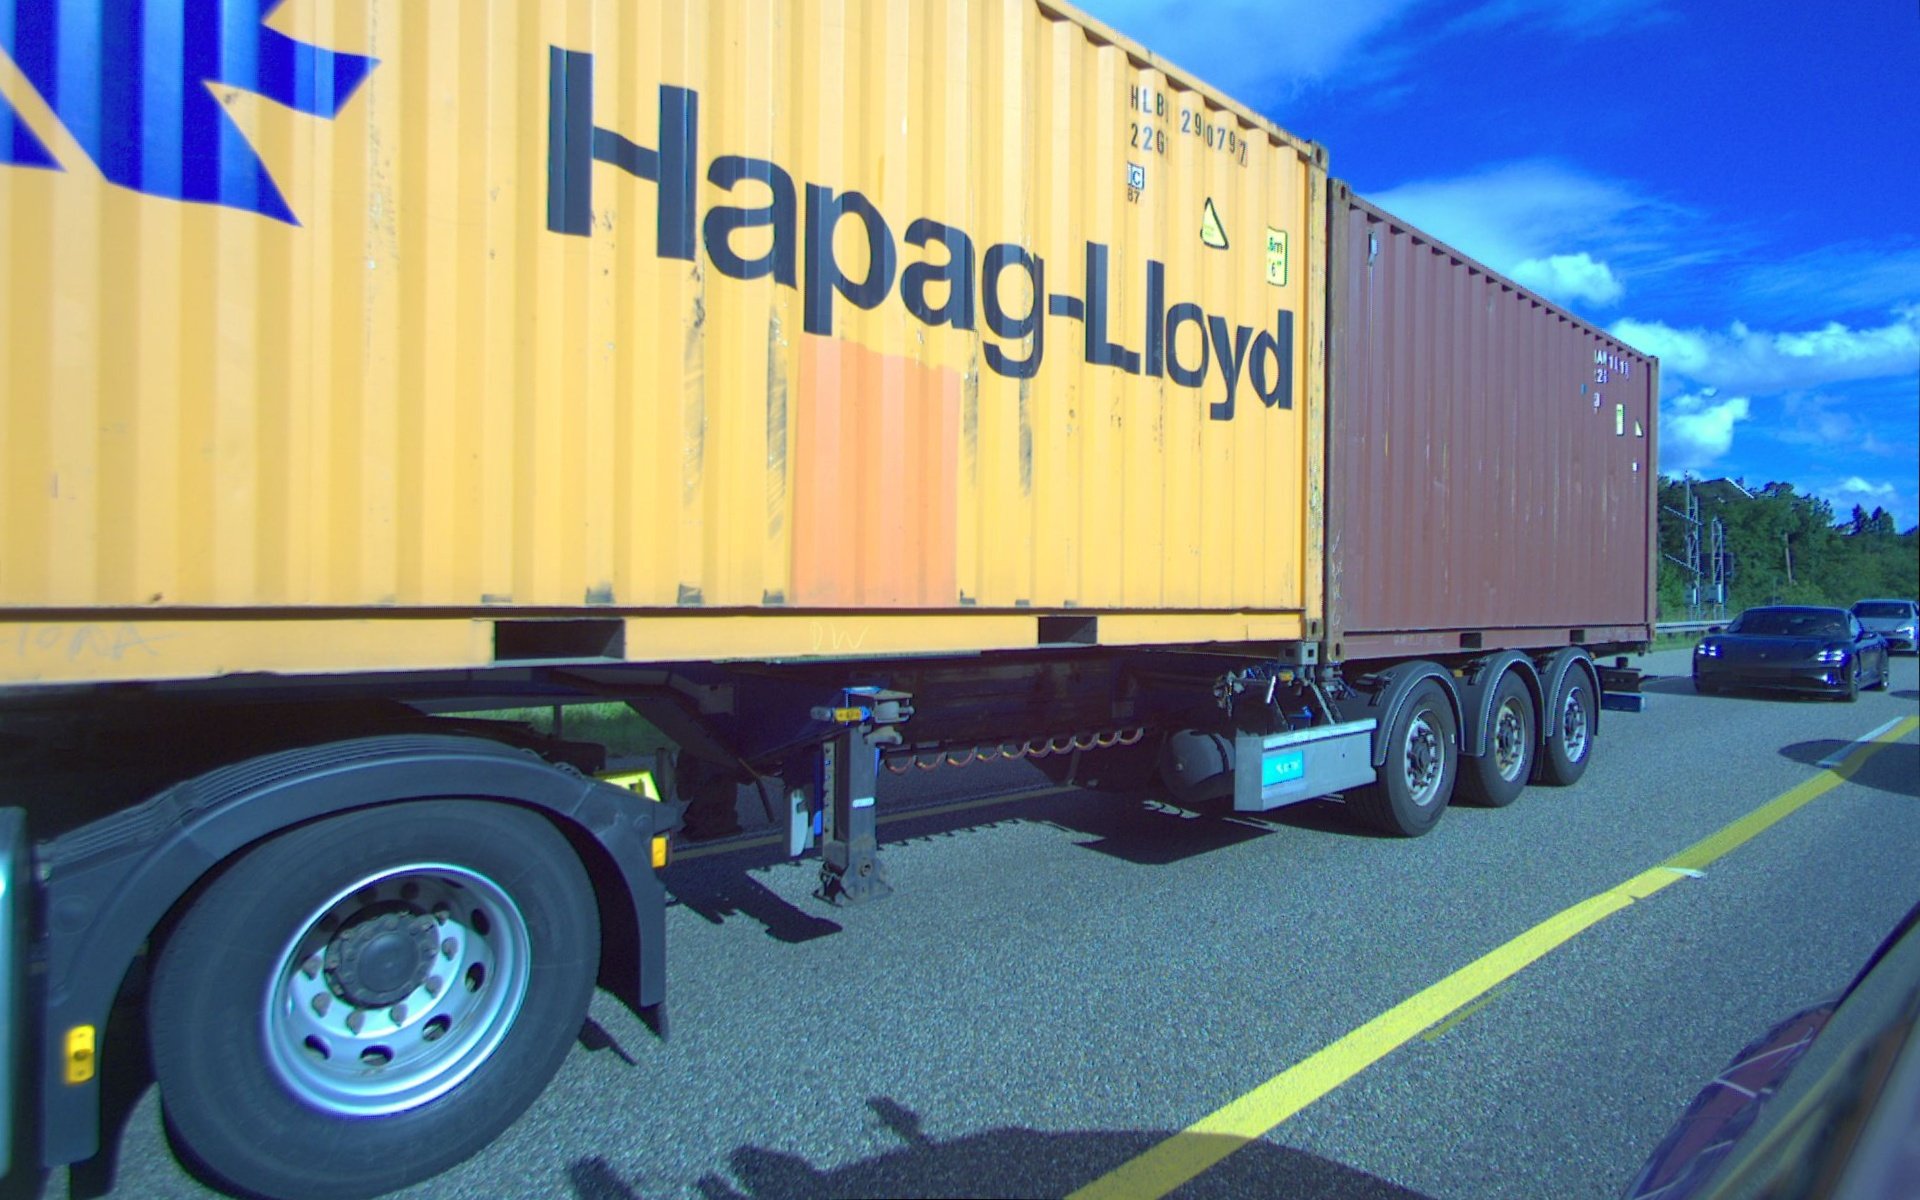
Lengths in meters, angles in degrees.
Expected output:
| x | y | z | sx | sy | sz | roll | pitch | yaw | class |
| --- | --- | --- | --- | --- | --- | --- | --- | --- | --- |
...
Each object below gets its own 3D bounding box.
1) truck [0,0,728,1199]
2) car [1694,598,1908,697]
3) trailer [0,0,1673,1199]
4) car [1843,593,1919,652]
| x | y | z | sx | sy | sz | roll | pitch | yaw | class |
| --- | --- | --- | --- | --- | --- | --- | --- | --- | --- |
| -3.616 | -0.526 | 1.982 | 5.689 | 3.828 | 2.499 | 0 | 0 | -41 | truck |
| 13.574 | 0.654 | 16.252 | 4.399 | 1.367 | 1.932 | 0 | 0 | -41 | car |
| 1.202 | -0.591 | 6.221 | 11.924 | 3.822 | 2.475 | 0 | 0 | -41 | trailer |
| 26.018 | 0.568 | 28.075 | 3.898 | 1.498 | 1.761 | -1 | 1 | -41 | car |
